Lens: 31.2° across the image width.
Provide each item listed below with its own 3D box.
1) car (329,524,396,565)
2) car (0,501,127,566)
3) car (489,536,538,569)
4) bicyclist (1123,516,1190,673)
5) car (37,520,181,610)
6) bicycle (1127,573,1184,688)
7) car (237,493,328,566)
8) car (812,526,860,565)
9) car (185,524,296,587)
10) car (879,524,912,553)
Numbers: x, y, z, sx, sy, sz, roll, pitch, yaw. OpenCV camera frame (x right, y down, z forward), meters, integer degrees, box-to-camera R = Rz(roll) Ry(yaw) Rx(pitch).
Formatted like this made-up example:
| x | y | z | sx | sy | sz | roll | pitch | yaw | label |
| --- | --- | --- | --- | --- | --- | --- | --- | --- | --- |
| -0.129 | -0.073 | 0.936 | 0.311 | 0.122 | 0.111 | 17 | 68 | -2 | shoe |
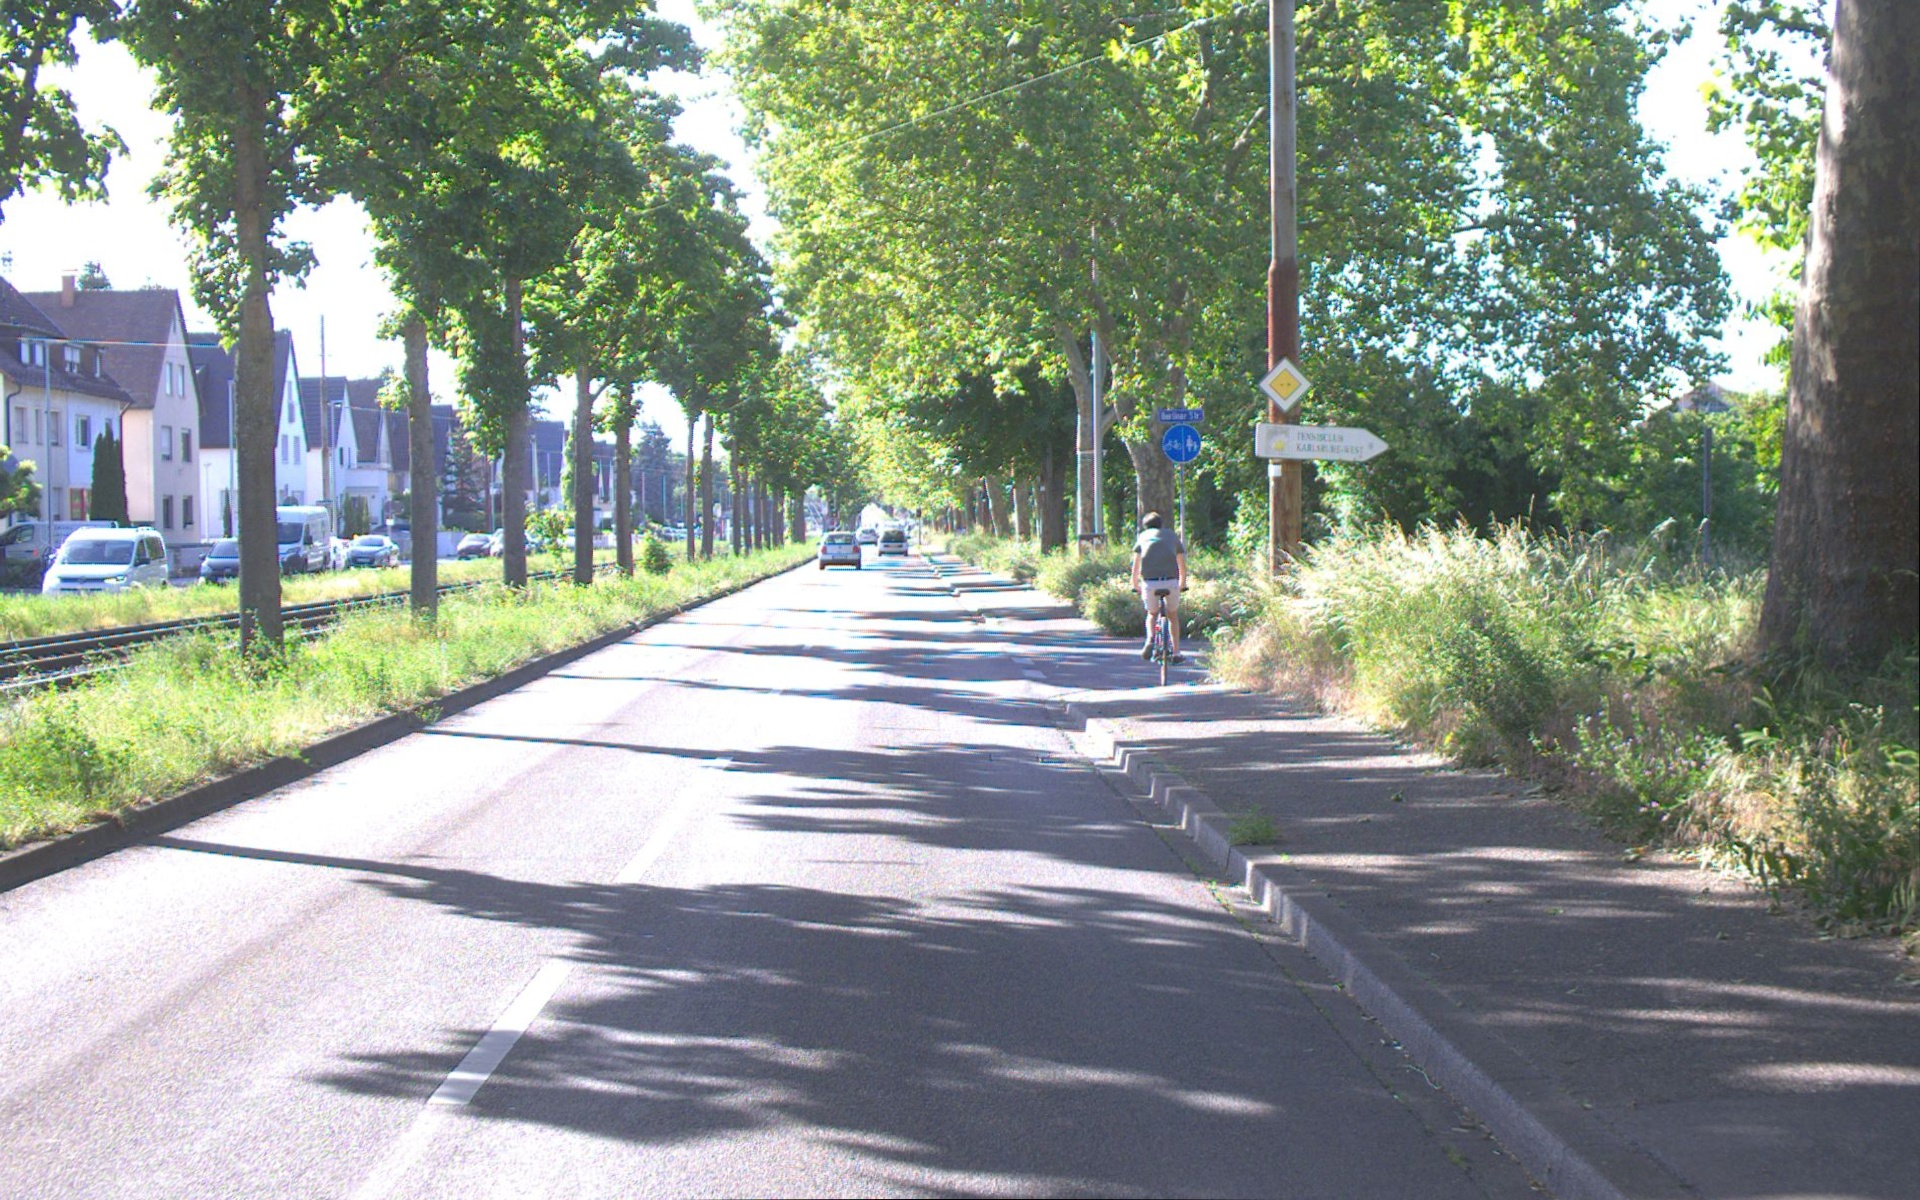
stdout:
| x | y | z | sx | sy | sz | roll | pitch | yaw | label |
| --- | --- | --- | --- | --- | --- | --- | --- | --- | --- |
| -24.651 | -2.310 | 141.964 | 1.993 | 1.576 | 4.498 | 2 | 1 | 0 | car |
| -28.822 | -2.121 | 108.835 | 4.616 | 1.939 | 2.001 | 2 | 1 | -11 | car |
| -19.441 | -2.080 | 149.801 | 1.676 | 1.405 | 4.000 | -1 | 1 | -1 | car |
| 2.051 | -0.067 | 35.979 | 0.613 | 1.623 | 0.909 | -1 | 1 | -1 | bicyclist |
| -17.776 | -0.730 | 72.020 | 1.810 | 1.738 | 4.982 | 2 | 0 | -1 | car |
| 2.038 | 0.302 | 36.016 | 0.440 | 1.149 | 1.823 | -1 | 1 | -1 | bicycle |
| -24.149 | -2.480 | 122.759 | 1.993 | 2.451 | 6.675 | 2 | 0 | -2 | car |
| -4.743 | -2.088 | 131.744 | 1.738 | 1.396 | 3.277 | 2 | 0 | -1 | car |
| -18.234 | -1.145 | 87.278 | 1.993 | 1.526 | 3.751 | -1 | 1 | 0 | car |
| -3.558 | -3.403 | 190.429 | 1.761 | 1.508 | 3.277 | 2 | 0 | 0 | car |
